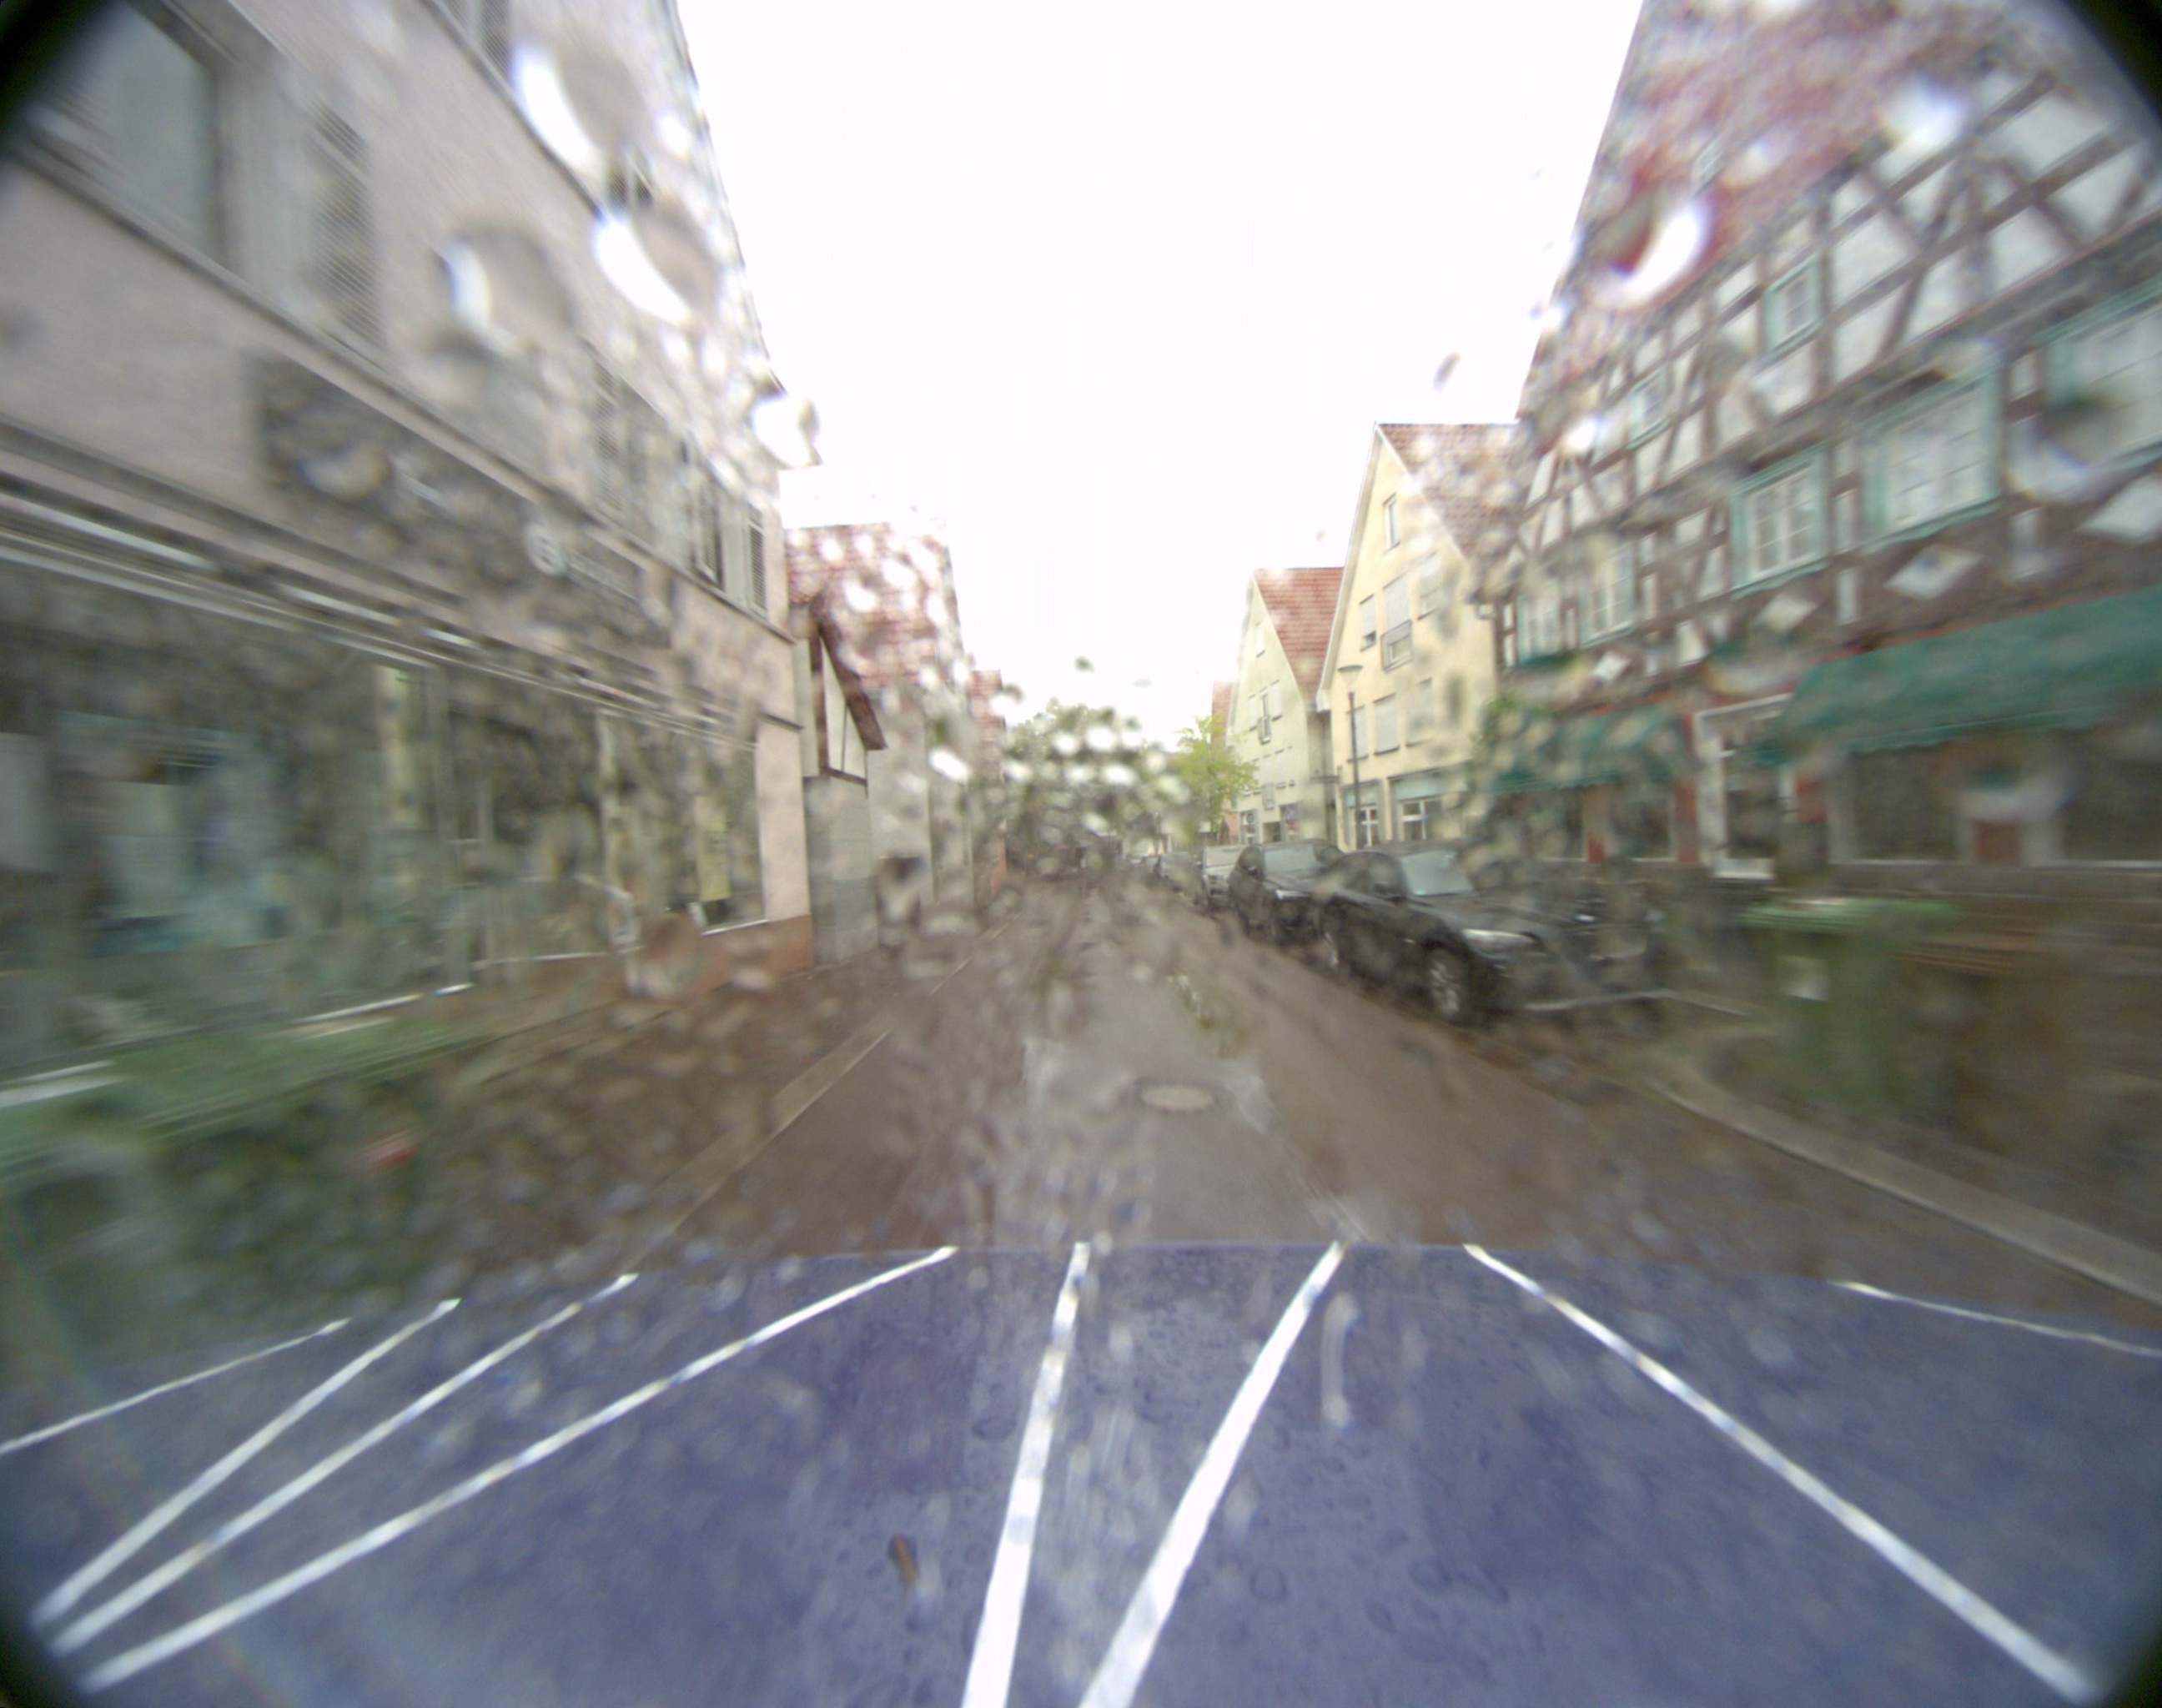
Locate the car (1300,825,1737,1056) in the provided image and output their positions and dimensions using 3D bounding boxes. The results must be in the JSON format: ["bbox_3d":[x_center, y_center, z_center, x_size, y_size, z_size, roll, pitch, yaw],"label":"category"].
[{"bbox_3d":[3.769,0.649,7.618,1.784,1.529,4.290,-5,-1,0],"label":"car"}]

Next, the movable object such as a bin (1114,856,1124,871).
[{"bbox_3d":[3.169,0.788,63.146,0.538,1.136,0.729,-1,1,31],"label":"movable object such as a bin"}]

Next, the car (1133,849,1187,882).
[{"bbox_3d":[3.835,0.549,37.812,1.867,1.433,4.618,-4,0,-4],"label":"car"}]

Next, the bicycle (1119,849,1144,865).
[{"bbox_3d":[4.528,0.262,68.107,0.925,1.343,2.220,0,3,44],"label":"bicycle"}]

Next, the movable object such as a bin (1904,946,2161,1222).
[{"bbox_3d":[3.985,0.905,3.140,0.610,0.933,0.499,-5,2,-3],"label":"movable object such as a bin"}]

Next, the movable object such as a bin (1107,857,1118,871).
[{"bbox_3d":[2.636,0.807,63.469,0.538,1.124,0.729,-1,1,31],"label":"movable object such as a bin"}]

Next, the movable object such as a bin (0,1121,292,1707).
[{"bbox_3d":[-2.222,1.163,1.413,0.798,1.074,0.582,-3,2,-2],"label":"movable object such as a bin"}]

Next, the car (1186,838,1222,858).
[{"bbox_3d":[12.290,-0.585,75.619,1.789,1.630,4.446,-3,2,33],"label":"car"}]

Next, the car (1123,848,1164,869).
[{"bbox_3d":[5.426,0.385,65.673,1.788,1.546,3.956,-2,1,34],"label":"car"}]

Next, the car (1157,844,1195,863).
[{"bbox_3d":[8.773,-0.078,70.178,1.789,1.460,3.955,-3,2,34],"label":"car"}]

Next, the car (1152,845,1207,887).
[{"bbox_3d":[4.103,0.461,32.347,1.866,1.515,4.328,-5,0,3],"label":"car"}]

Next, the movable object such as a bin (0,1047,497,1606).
[{"bbox_3d":[-2.239,1.159,2.034,0.795,1.074,0.614,-3,2,-2],"label":"movable object such as a bin"}]

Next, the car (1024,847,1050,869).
[{"bbox_3d":[-3.561,0.345,62.204,1.784,1.529,4.290,-5,-1,0],"label":"car"}]

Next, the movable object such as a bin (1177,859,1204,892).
[{"bbox_3d":[3.856,0.760,26.887,0.748,1.077,0.744,-5,2,-2],"label":"movable object such as a bin"}]

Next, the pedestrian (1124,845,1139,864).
[{"bbox_3d":[4.552,0.029,68.133,0.910,1.689,0.863,0,4,44],"label":"pedestrian"}]

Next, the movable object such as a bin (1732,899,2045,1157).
[{"bbox_3d":[3.940,0.801,3.769,0.771,1.075,0.676,-4,-1,-4],"label":"movable object such as a bin"}]

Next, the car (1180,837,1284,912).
[{"bbox_3d":[4.005,0.455,20.932,1.829,1.657,4.641,-4,2,0],"label":"car"}]

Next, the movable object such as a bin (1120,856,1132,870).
[{"bbox_3d":[3.701,0.711,62.687,0.726,1.077,0.605,-4,2,24],"label":"movable object such as a bin"}]

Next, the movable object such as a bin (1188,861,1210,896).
[{"bbox_3d":[3.820,0.787,24.630,0.553,1.040,0.534,-4,2,-3],"label":"movable object such as a bin"}]

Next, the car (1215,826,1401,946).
[{"bbox_3d":[3.809,0.493,13.716,1.829,1.656,4.642,-4,0,0],"label":"car"}]

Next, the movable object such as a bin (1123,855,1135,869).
[{"bbox_3d":[4.025,0.668,63.284,0.726,1.087,0.611,-4,2,24],"label":"movable object such as a bin"}]

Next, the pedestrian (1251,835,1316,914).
[{"bbox_3d":[4.606,0.446,17.343,1.176,1.672,0.790,-5,2,-1],"label":"pedestrian"}]

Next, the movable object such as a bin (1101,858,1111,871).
[{"bbox_3d":[2.109,0.848,63.918,0.538,1.077,0.729,-1,1,31],"label":"movable object such as a bin"}]
